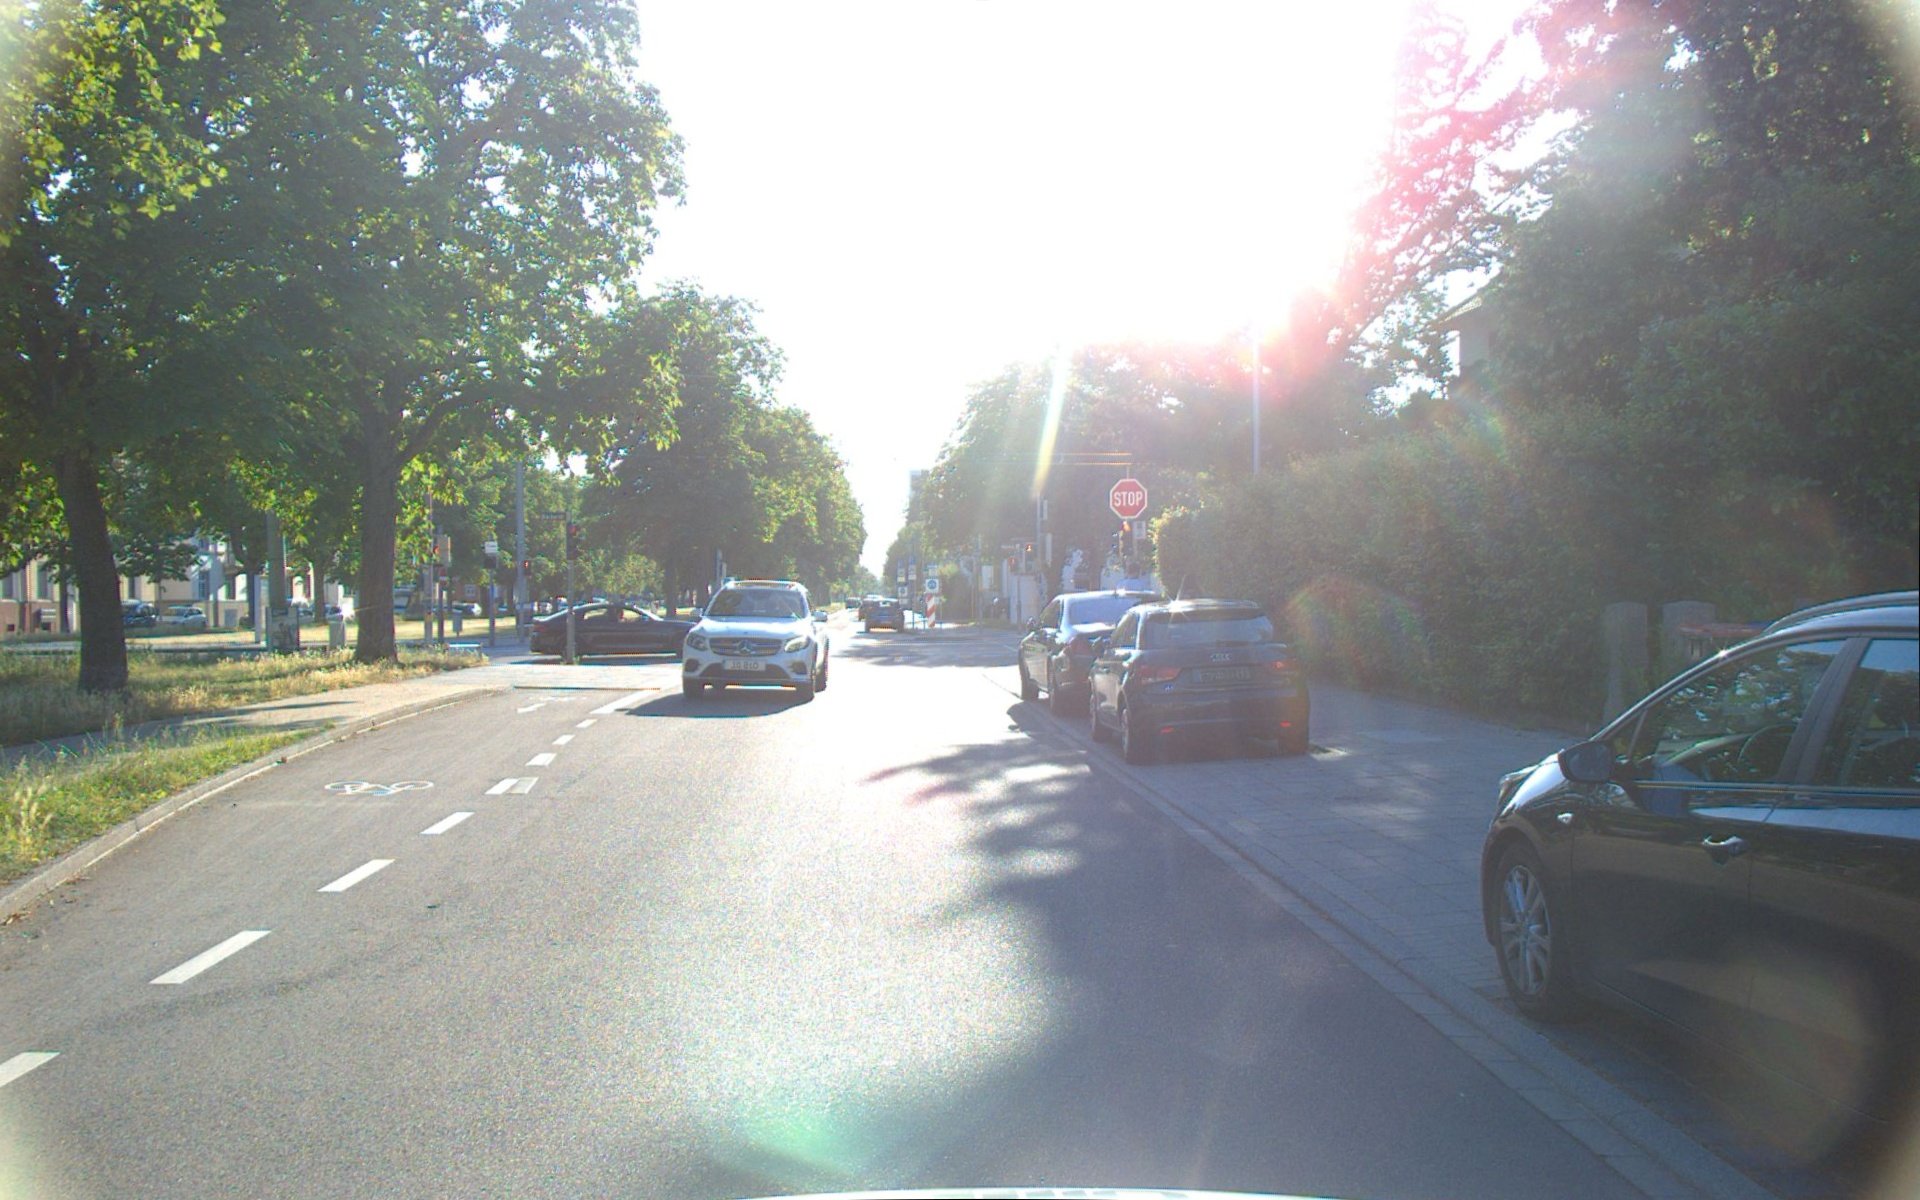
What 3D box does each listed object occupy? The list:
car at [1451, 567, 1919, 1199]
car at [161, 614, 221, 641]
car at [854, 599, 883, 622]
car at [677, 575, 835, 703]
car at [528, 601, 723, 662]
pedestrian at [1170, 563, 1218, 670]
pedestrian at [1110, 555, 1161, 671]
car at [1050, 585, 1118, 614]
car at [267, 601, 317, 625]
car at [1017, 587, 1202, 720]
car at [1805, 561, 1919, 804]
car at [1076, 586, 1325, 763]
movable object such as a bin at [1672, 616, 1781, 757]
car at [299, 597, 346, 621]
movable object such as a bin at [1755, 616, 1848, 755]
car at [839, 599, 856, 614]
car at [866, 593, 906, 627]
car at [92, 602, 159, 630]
[{"bbox_3d":[2.904,0.674,4.399,1.712,1.500,4.252,0,0,-4],"label":"car"},{"bbox_3d":[-46.936,1.664,101.018,1.701,1.452,3.794,0,2,3],"label":"car"},{"bbox_3d":[-5.874,0.641,106.557,1.808,1.418,3.827,0,0,-2],"label":"car"},{"bbox_3d":[-2.937,0.526,24.632,1.852,1.706,4.424,1,0,-1],"label":"car"},{"bbox_3d":[-8.380,0.754,41.431,4.684,1.459,1.808,0,0,-14],"label":"car"},{"bbox_3d":[3.860,0.267,27.317,0.656,1.738,0.622,0,0,-6],"label":"pedestrian"},{"bbox_3d":[2.901,0.215,27.388,0.657,1.898,0.880,0,0,-6],"label":"pedestrian"},{"bbox_3d":[7.040,-0.034,94.374,3.704,1.552,1.743,0,1,-3],"label":"car"},{"bbox_3d":[-41.688,0.787,103.313,1.703,1.452,3.790,0,0,-2],"label":"car"},{"bbox_3d":[1.870,0.630,22.194,1.822,1.569,4.870,-1,0,-3],"label":"car"},{"bbox_3d":[7.758,0.451,10.791,3.562,1.522,1.780,-2,0,-3],"label":"car"},{"bbox_3d":[2.203,0.629,16.119,1.608,1.452,3.934,-2,0,-3],"label":"car"},{"bbox_3d":[5.996,0.661,12.957,0.498,1.061,0.658,0,0,-9],"label":"movable object such as a bin"},{"bbox_3d":[-42.069,0.583,109.209,1.703,1.452,3.791,0,2,-2],"label":"car"},{"bbox_3d":[6.555,0.657,12.890,0.498,1.061,0.416,0,0,-9],"label":"movable object such as a bin"},{"bbox_3d":[-15.128,0.875,222.790,2.091,2.049,3.900,0,0,-2],"label":"car"},{"bbox_3d":[-3.236,0.432,72.675,1.607,1.476,3.307,0,0,-1],"label":"car"},{"bbox_3d":[-47.152,0.907,93.559,1.701,1.422,3.794,0,2,3],"label":"car"}]
